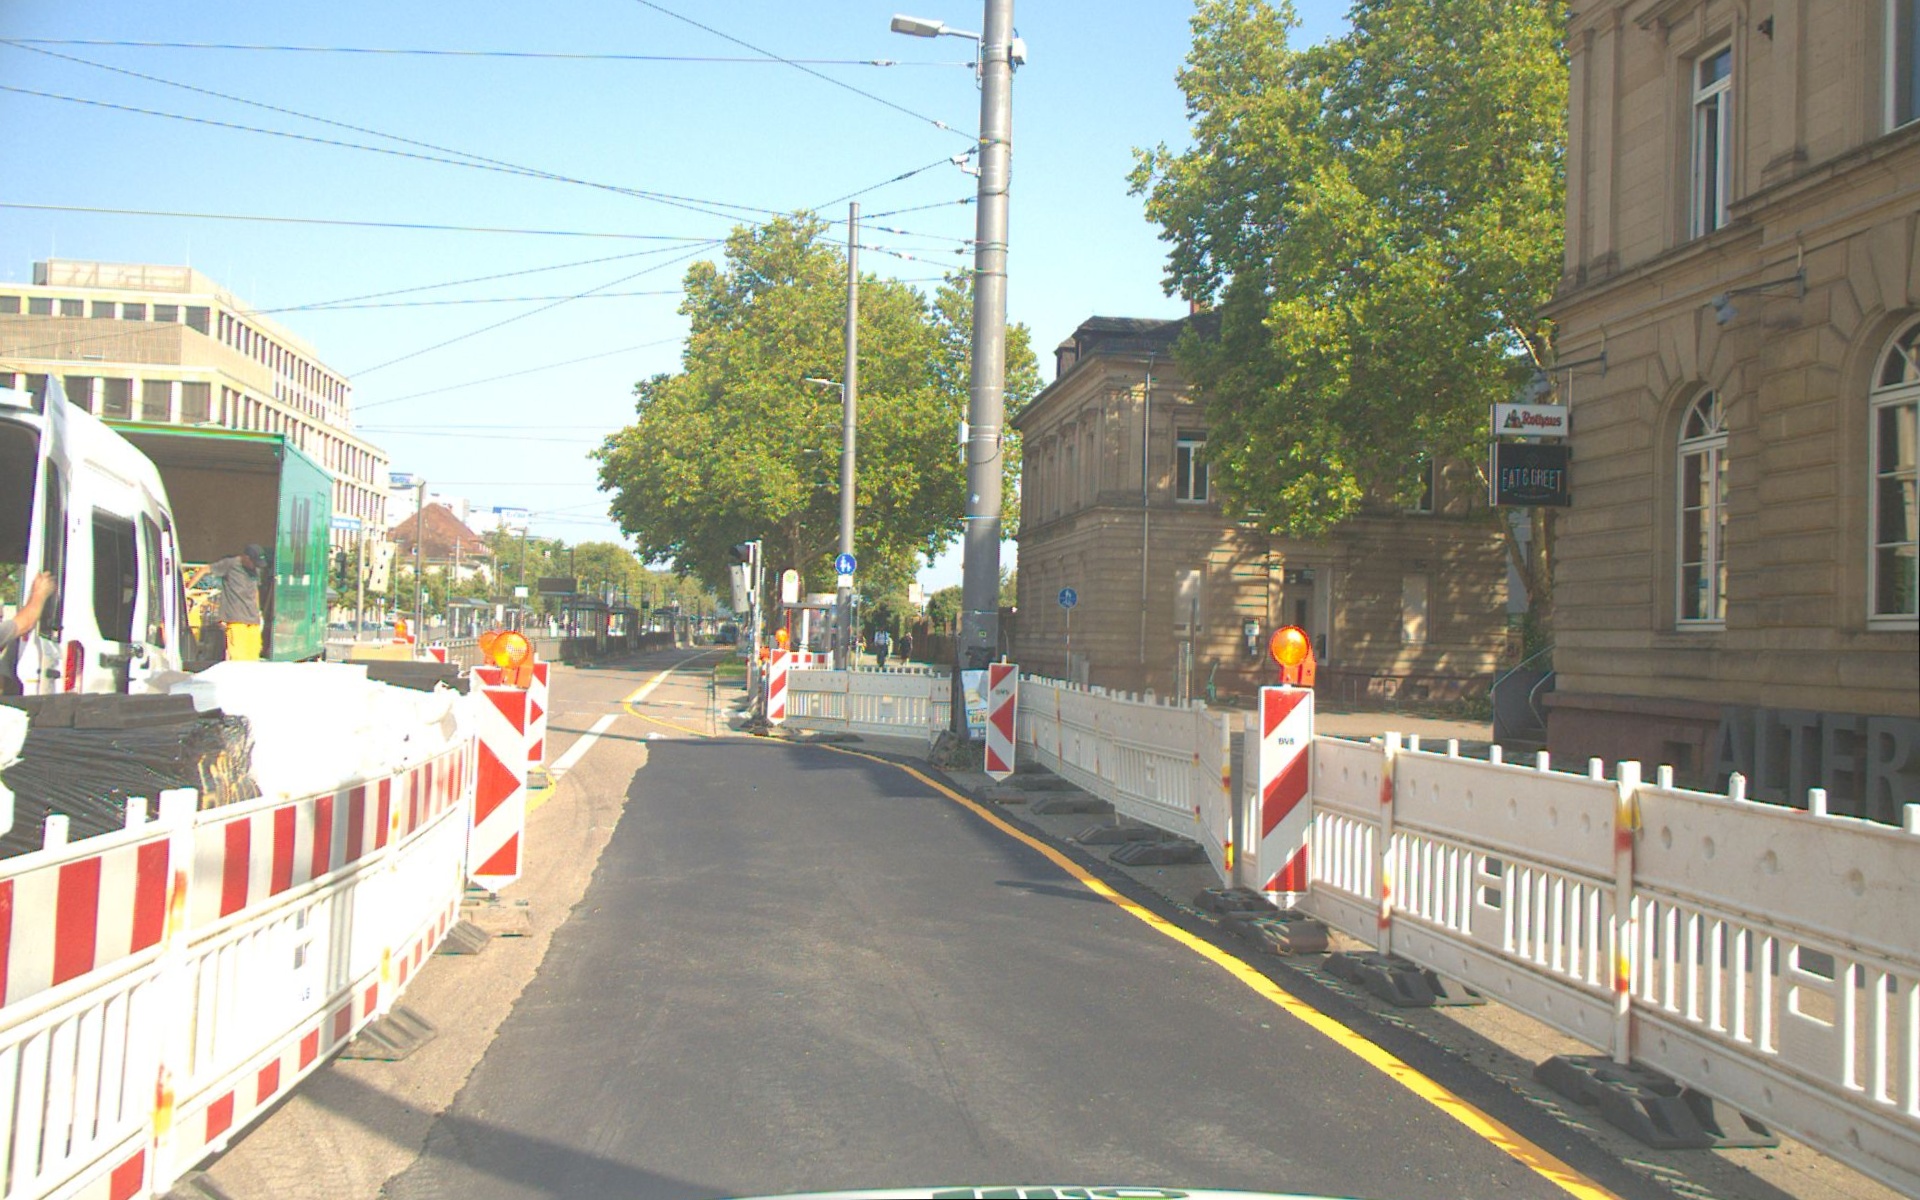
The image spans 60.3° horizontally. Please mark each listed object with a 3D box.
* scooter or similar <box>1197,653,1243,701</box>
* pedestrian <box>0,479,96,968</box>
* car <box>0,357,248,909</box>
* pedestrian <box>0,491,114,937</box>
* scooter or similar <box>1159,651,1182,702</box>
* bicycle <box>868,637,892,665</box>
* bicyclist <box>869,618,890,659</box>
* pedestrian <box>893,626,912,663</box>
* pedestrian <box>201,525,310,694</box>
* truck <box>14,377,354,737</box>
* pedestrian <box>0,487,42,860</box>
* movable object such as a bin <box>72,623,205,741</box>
[{"bbox_3d":[6.925,2.041,44.109,1.239,1.231,0.418,0,1,-33],"label":"scooter or similar"},{"bbox_3d":[-4.363,0.515,7.066,0.719,2.049,0.906,0,-1,26],"label":"pedestrian"},{"bbox_3d":[-6.040,0.170,10.622,2.191,2.777,5.142,1,-1,-19],"label":"car"},{"bbox_3d":[-4.727,0.522,8.045,0.719,2.049,0.907,1,-1,-1],"label":"pedestrian"},{"bbox_3d":[5.532,1.996,43.429,0.412,1.231,1.256,1,1,15],"label":"scooter or similar"},{"bbox_3d":[-3.205,2.027,65.923,0.704,1.060,1.898,1,0,-10],"label":"bicycle"},{"bbox_3d":[-3.195,1.527,65.972,0.704,1.570,0.953,1,0,-10],"label":"bicyclist"},{"bbox_3d":[-2.750,2.096,78.459,0.803,1.716,1.010,1,-1,-7],"label":"pedestrian"},{"bbox_3d":[-7.401,0.100,17.390,0.691,1.723,0.764,1,-1,28],"label":"pedestrian"},{"bbox_3d":[-9.644,-0.422,21.509,2.630,3.743,8.177,1,0,-16],"label":"truck"},{"bbox_3d":[-5.634,0.401,9.026,0.719,2.049,0.907,1,-1,-2],"label":"pedestrian"},{"bbox_3d":[-8.178,0.797,16.525,0.630,1.111,1.480,1,-1,-3],"label":"movable object such as a bin"}]
